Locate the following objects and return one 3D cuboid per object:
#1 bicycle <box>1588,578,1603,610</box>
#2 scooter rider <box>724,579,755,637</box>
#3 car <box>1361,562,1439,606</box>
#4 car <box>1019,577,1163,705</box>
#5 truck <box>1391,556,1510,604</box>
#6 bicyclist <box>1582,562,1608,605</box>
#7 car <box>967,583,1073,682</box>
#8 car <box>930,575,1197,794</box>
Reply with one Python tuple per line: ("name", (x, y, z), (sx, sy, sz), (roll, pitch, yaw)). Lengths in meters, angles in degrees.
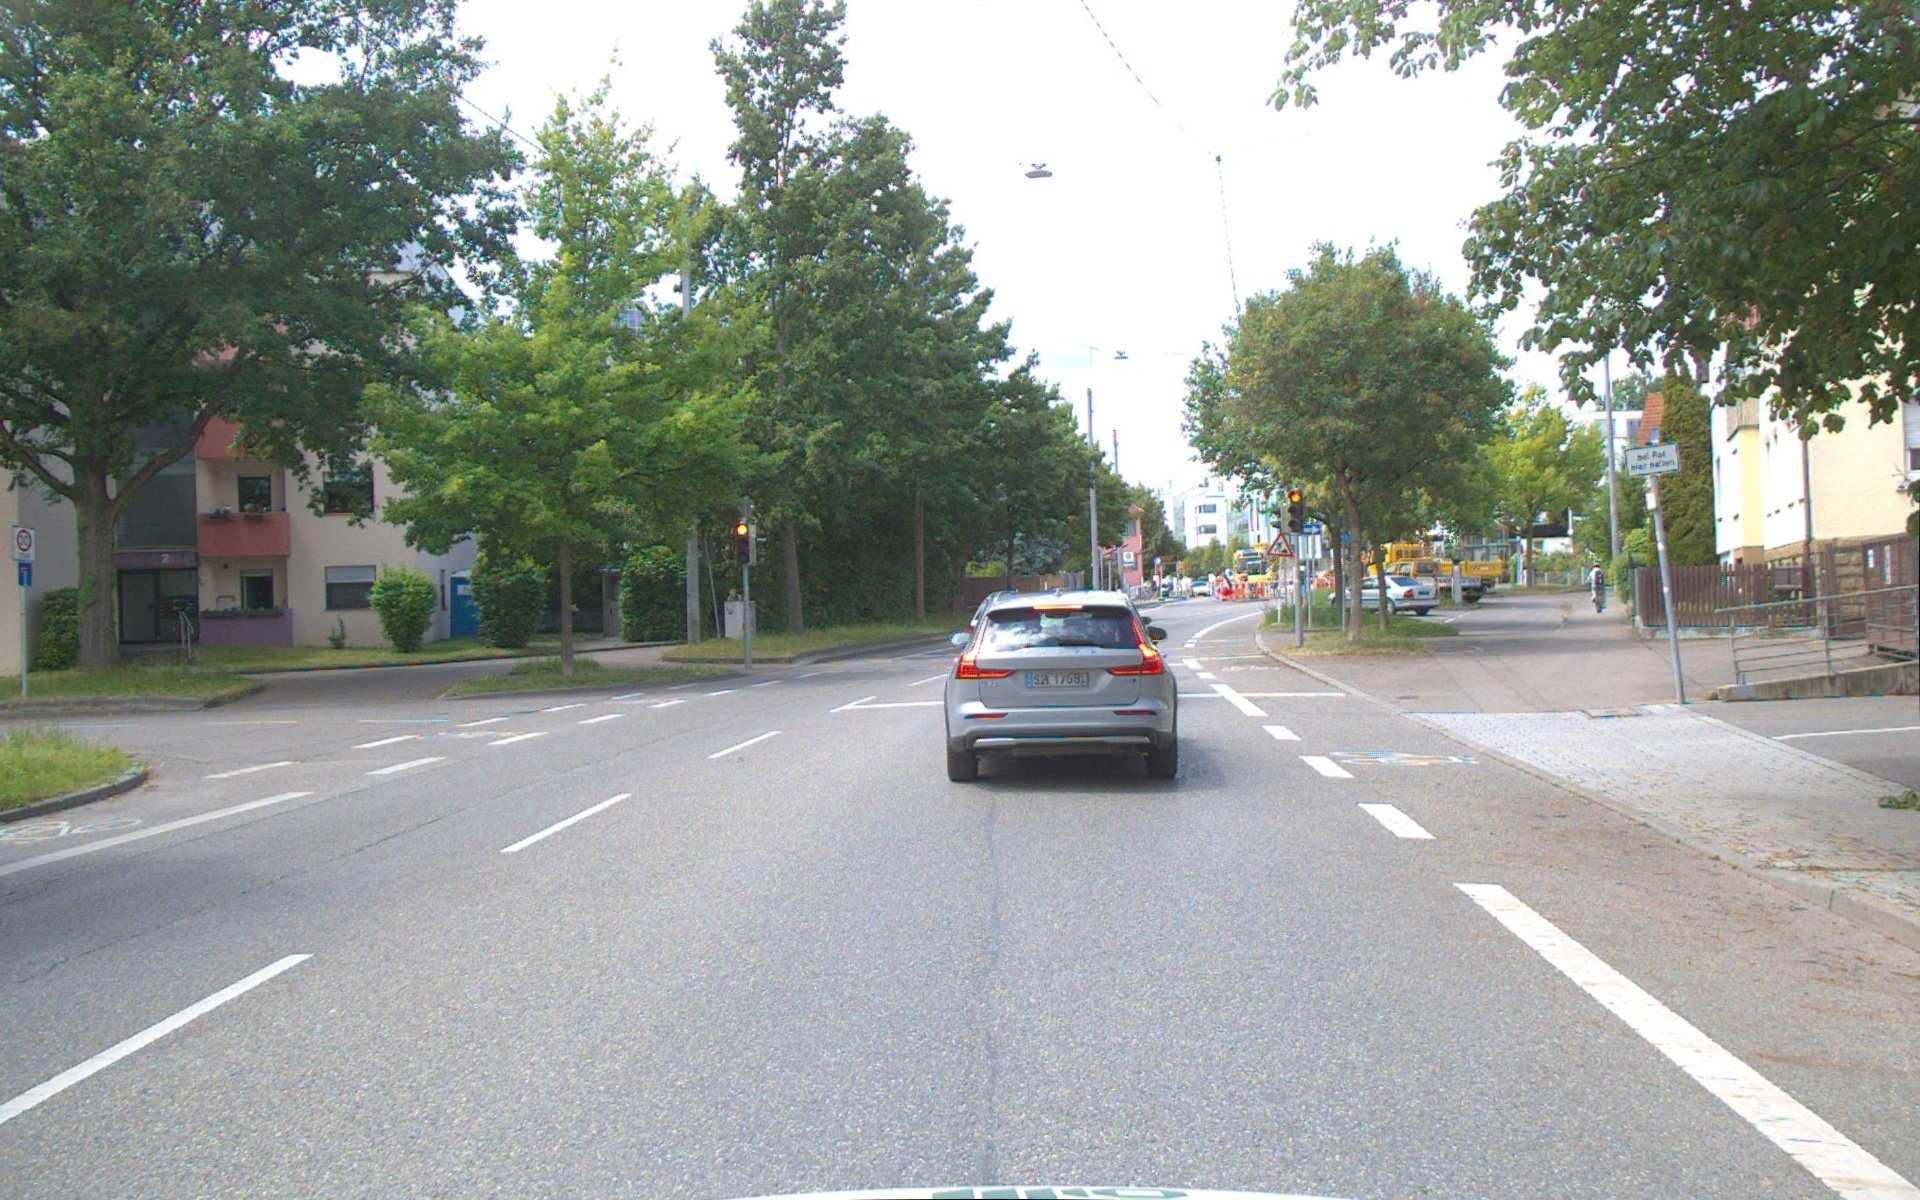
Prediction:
("bicycle", (21.318, -0.195, 55.503), (0.452, 1.053, 2.763), (-1, -1, 21))
("scooter rider", (-6.701, 0.243, 50.295), (0.699, 1.758, 0.672), (0, -1, -34))
("car", (21.221, -0.757, 79.737), (3.727, 2.049, 1.720), (0, -1, -37))
("car", (1.819, 0.492, 22.855), (1.766, 1.550, 4.332), (1, 1, 5))
("truck", (22.202, -0.898, 74.759), (5.544, 2.049, 2.065), (0, -1, -33))
("bicyclist", (21.290, -0.549, 55.457), (0.761, 1.424, 0.702), (-1, -1, 20))
("car", (1.039, 0.585, 30.384), (1.767, 1.644, 4.329), (1, -1, 0))
("car", (0.999, 0.603, 14.307), (1.914, 1.550, 4.332), (-2, 0, 7))
